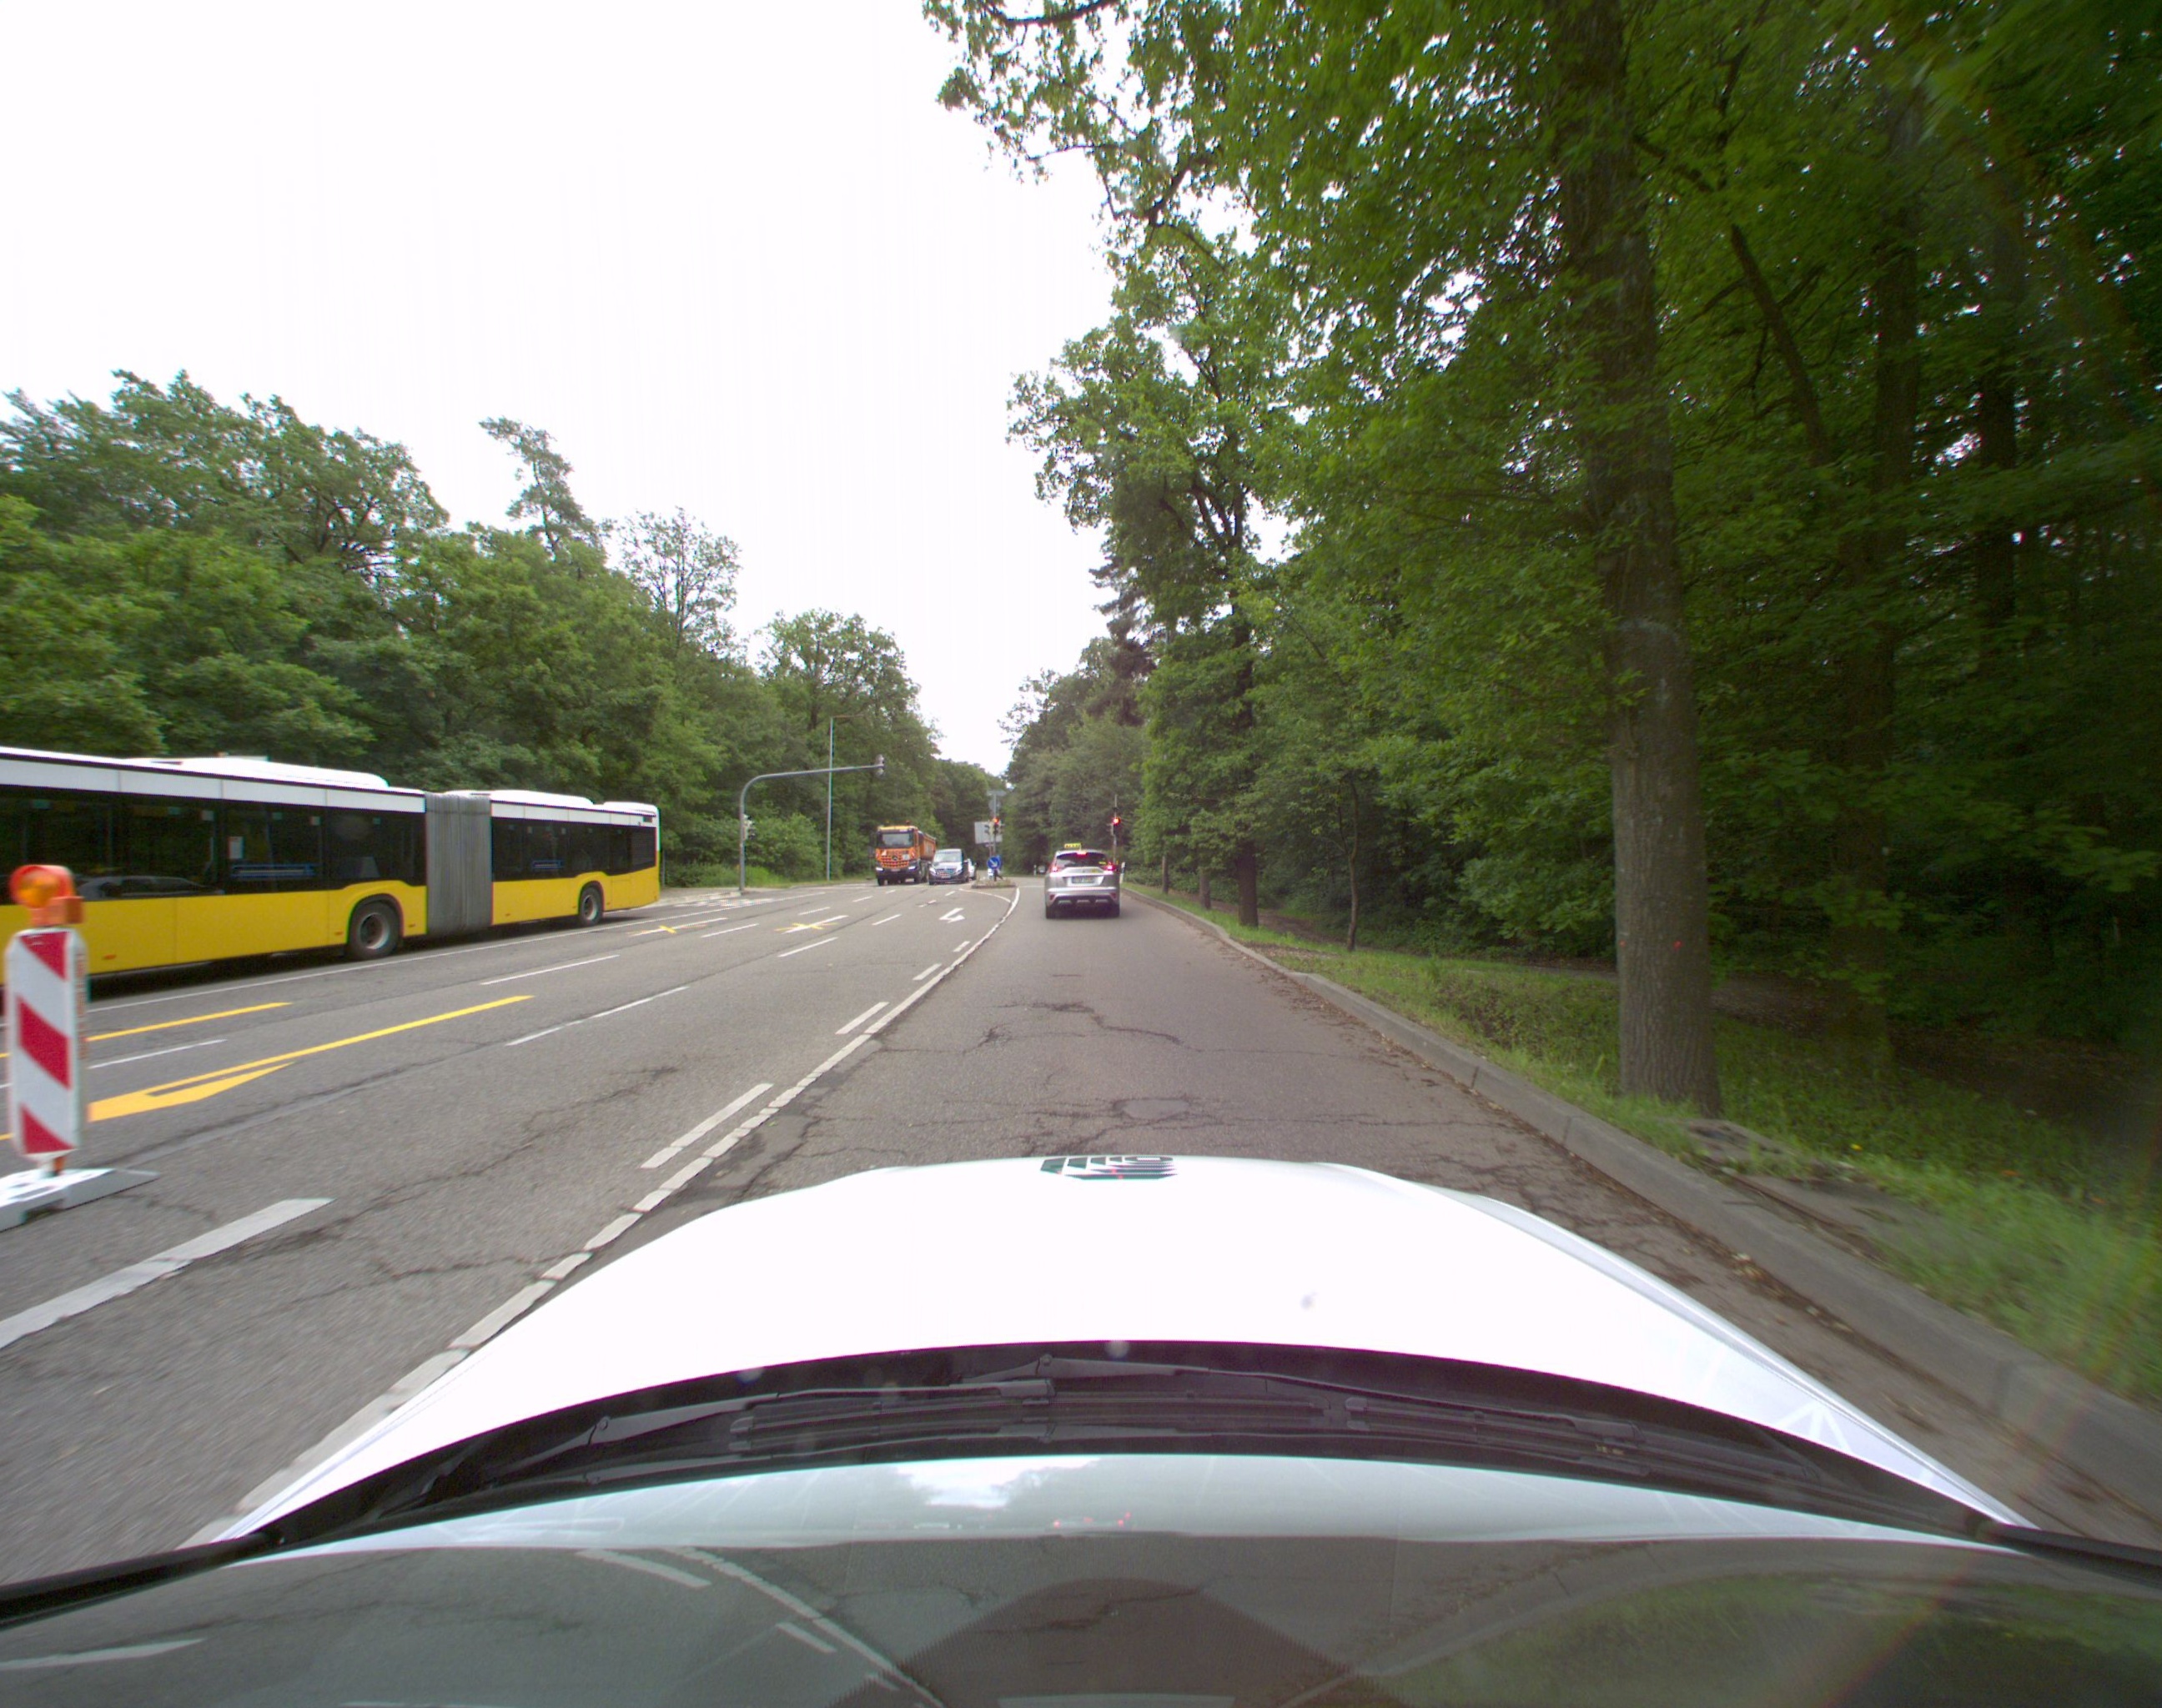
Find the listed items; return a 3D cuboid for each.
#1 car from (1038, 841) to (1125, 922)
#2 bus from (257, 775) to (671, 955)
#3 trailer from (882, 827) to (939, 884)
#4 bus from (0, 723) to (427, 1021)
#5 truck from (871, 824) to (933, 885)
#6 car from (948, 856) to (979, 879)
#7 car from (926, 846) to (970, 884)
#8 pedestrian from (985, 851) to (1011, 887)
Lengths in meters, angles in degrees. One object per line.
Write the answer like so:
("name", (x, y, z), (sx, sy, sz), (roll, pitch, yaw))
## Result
("car", (0.119, 0.603, 20.665), (1.838, 1.780, 4.005), (2, 1, 4))
("bus", (-12.915, 0.181, 18.522), (2.890, 3.127, 8.690), (0, 0, -1))
("trailer", (-11.046, 0.165, 53.417), (2.735, 3.318, 8.550), (-2, -1, -6))
("bus", (-12.795, 0.197, 9.295), (2.890, 3.127, 9.755), (0, 0, -1))
("truck", (-10.557, 0.084, 48.758), (2.735, 3.318, 7.144), (-2, -1, -6))
("car", (-7.784, 0.863, 54.193), (1.609, 1.321, 3.717), (-3, 1, -3))
("car", (-7.306, 0.594, 45.156), (1.990, 1.893, 4.830), (-2, 0, -5))
("pedestrian", (-3.971, 0.702, 39.148), (1.043, 1.649, 1.070), (-1, 1, 2))
